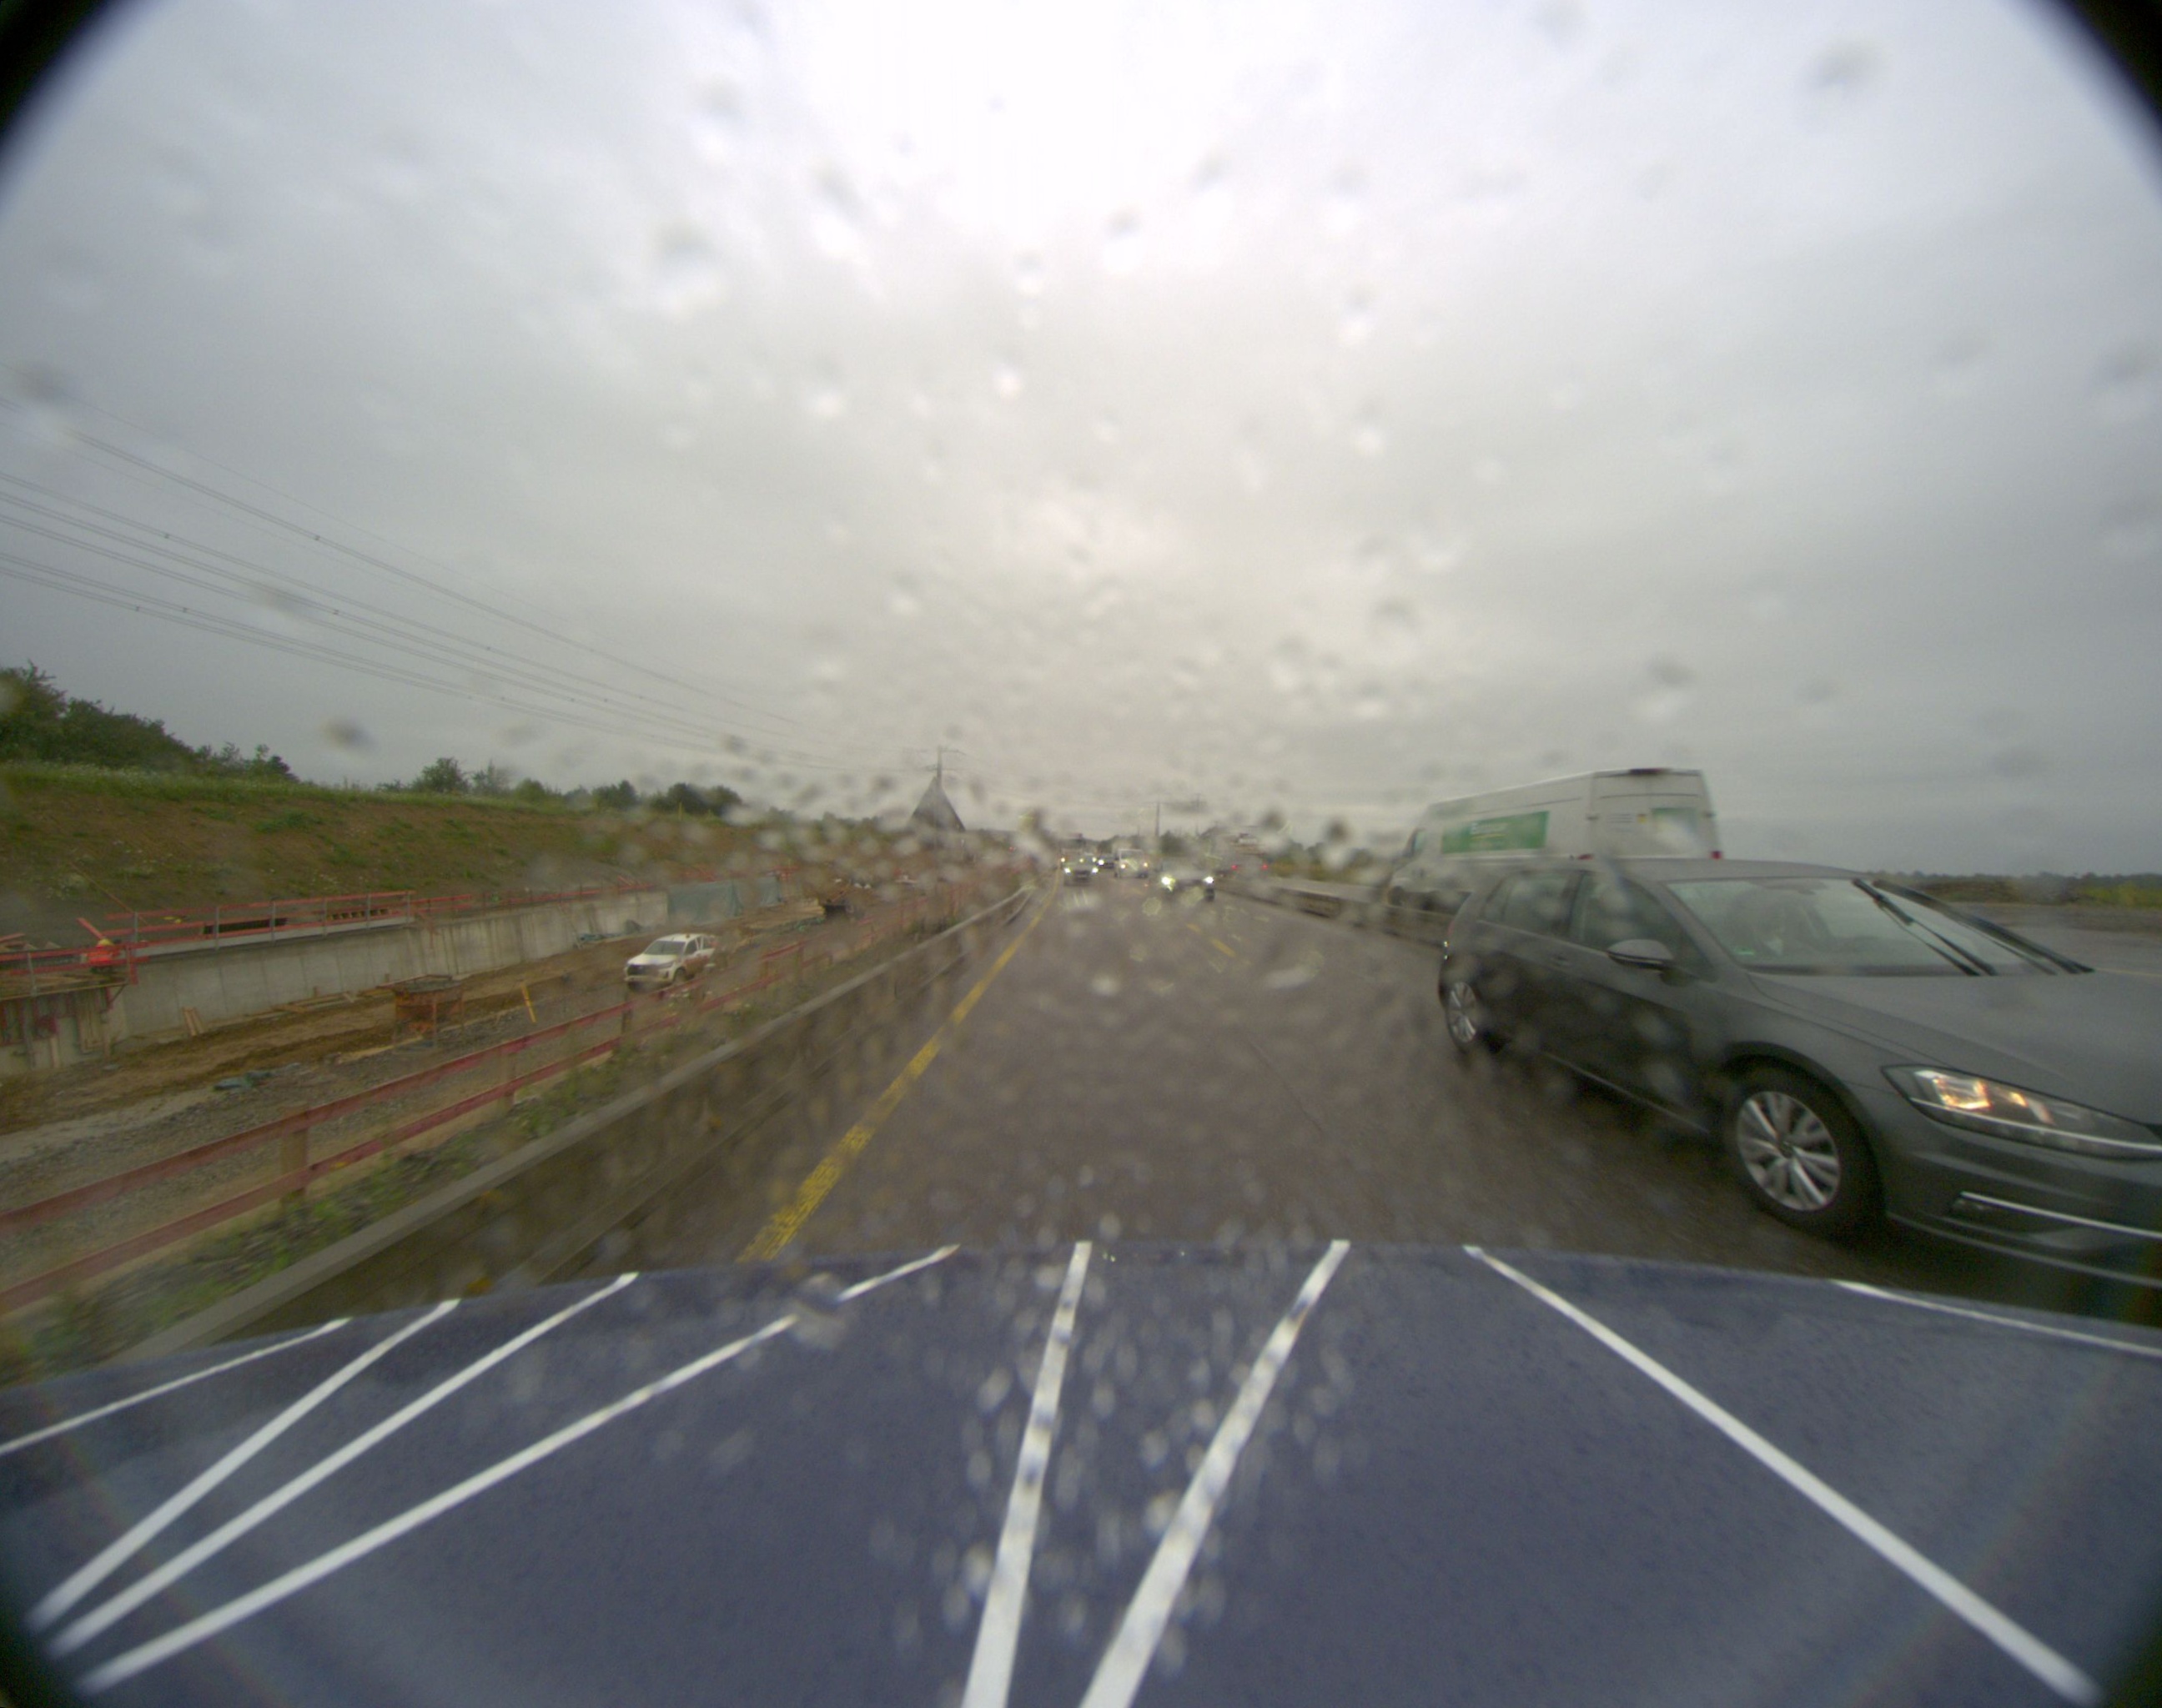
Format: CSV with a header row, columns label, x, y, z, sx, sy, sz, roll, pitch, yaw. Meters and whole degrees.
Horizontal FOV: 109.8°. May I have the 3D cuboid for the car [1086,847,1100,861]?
label,x,y,z,sx,sy,sz,roll,pitch,yaw
car,1.690,-0.061,108.404,1.799,1.851,4.286,-2,1,0

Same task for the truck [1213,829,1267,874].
label,x,y,z,sx,sy,sz,roll,pitch,yaw
truck,10.830,-0.152,52.264,2.364,2.877,6.548,1,0,0

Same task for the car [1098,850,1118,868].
label,x,y,z,sx,sy,sz,roll,pitch,yaw
car,2.548,0.442,71.762,1.799,1.521,4.067,-2,1,2

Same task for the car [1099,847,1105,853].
label,x,y,z,sx,sy,sz,roll,pitch,yaw
car,6.710,-1.284,247.349,1.730,1.749,4.089,-1,1,-2

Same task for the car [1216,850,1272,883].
label,x,y,z,sx,sy,sz,roll,pitch,yaw
car,7.963,0.587,37.522,1.751,1.486,4.749,-1,0,0

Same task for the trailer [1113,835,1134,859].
label,x,y,z,sx,sy,sz,roll,pitch,yaw
trailer,7.798,-1.251,141.316,2.794,4.176,13.670,-1,0,-2

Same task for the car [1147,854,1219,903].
label,x,y,z,sx,sy,sz,roll,pitch,yaw
car,3.351,0.752,25.664,1.800,1.389,4.268,-2,1,0

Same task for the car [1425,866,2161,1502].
label,x,y,z,sx,sy,sz,roll,pitch,yaw
car,3.520,0.858,3.917,1.653,1.414,4.080,-1,1,0

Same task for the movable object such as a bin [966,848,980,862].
label,x,y,z,sx,sy,sz,roll,pitch,yaw
movable object such as a bin,-22.126,0.180,155.359,2.252,2.704,3.998,-2,1,-2

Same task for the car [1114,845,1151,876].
label,x,y,z,sx,sy,sz,roll,pitch,yaw
car,3.347,0.390,50.430,2.160,1.848,5.179,-2,1,2

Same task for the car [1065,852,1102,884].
label,x,y,z,sx,sy,sz,roll,pitch,yaw
car,0.140,0.675,39.975,1.799,1.524,4.307,-2,0,1

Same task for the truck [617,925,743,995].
label,x,y,z,sx,sy,sz,roll,pitch,yaw
truck,-15.633,4.055,30.100,1.766,1.860,5.786,0,1,2

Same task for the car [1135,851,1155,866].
label,x,y,z,sx,sy,sz,roll,pitch,yaw
car,6.305,0.437,75.393,1.642,1.388,3.591,-2,1,0

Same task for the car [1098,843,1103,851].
label,x,y,z,sx,sy,sz,roll,pitch,yaw
car,6.763,-2.425,264.445,1.730,2.707,4.090,-1,1,0

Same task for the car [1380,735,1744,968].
label,x,y,z,sx,sy,sz,roll,pitch,yaw
car,7.789,-0.053,13.649,1.998,3.028,7.171,-2,0,1

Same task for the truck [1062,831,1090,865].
label,x,y,z,sx,sy,sz,roll,pitch,yaw
truck,-0.480,-0.728,86.318,2.837,3.617,9.119,-2,1,1

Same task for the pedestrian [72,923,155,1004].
label,x,y,z,sx,sy,sz,roll,pitch,yaw
pedestrian,-29.035,3.267,22.821,0.917,2.219,1.006,-6,2,5

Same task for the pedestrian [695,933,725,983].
label,x,y,z,sx,sy,sz,roll,pitch,yaw
pedestrian,-14.851,4.139,30.404,0.812,1.789,0.933,-2,3,-45
